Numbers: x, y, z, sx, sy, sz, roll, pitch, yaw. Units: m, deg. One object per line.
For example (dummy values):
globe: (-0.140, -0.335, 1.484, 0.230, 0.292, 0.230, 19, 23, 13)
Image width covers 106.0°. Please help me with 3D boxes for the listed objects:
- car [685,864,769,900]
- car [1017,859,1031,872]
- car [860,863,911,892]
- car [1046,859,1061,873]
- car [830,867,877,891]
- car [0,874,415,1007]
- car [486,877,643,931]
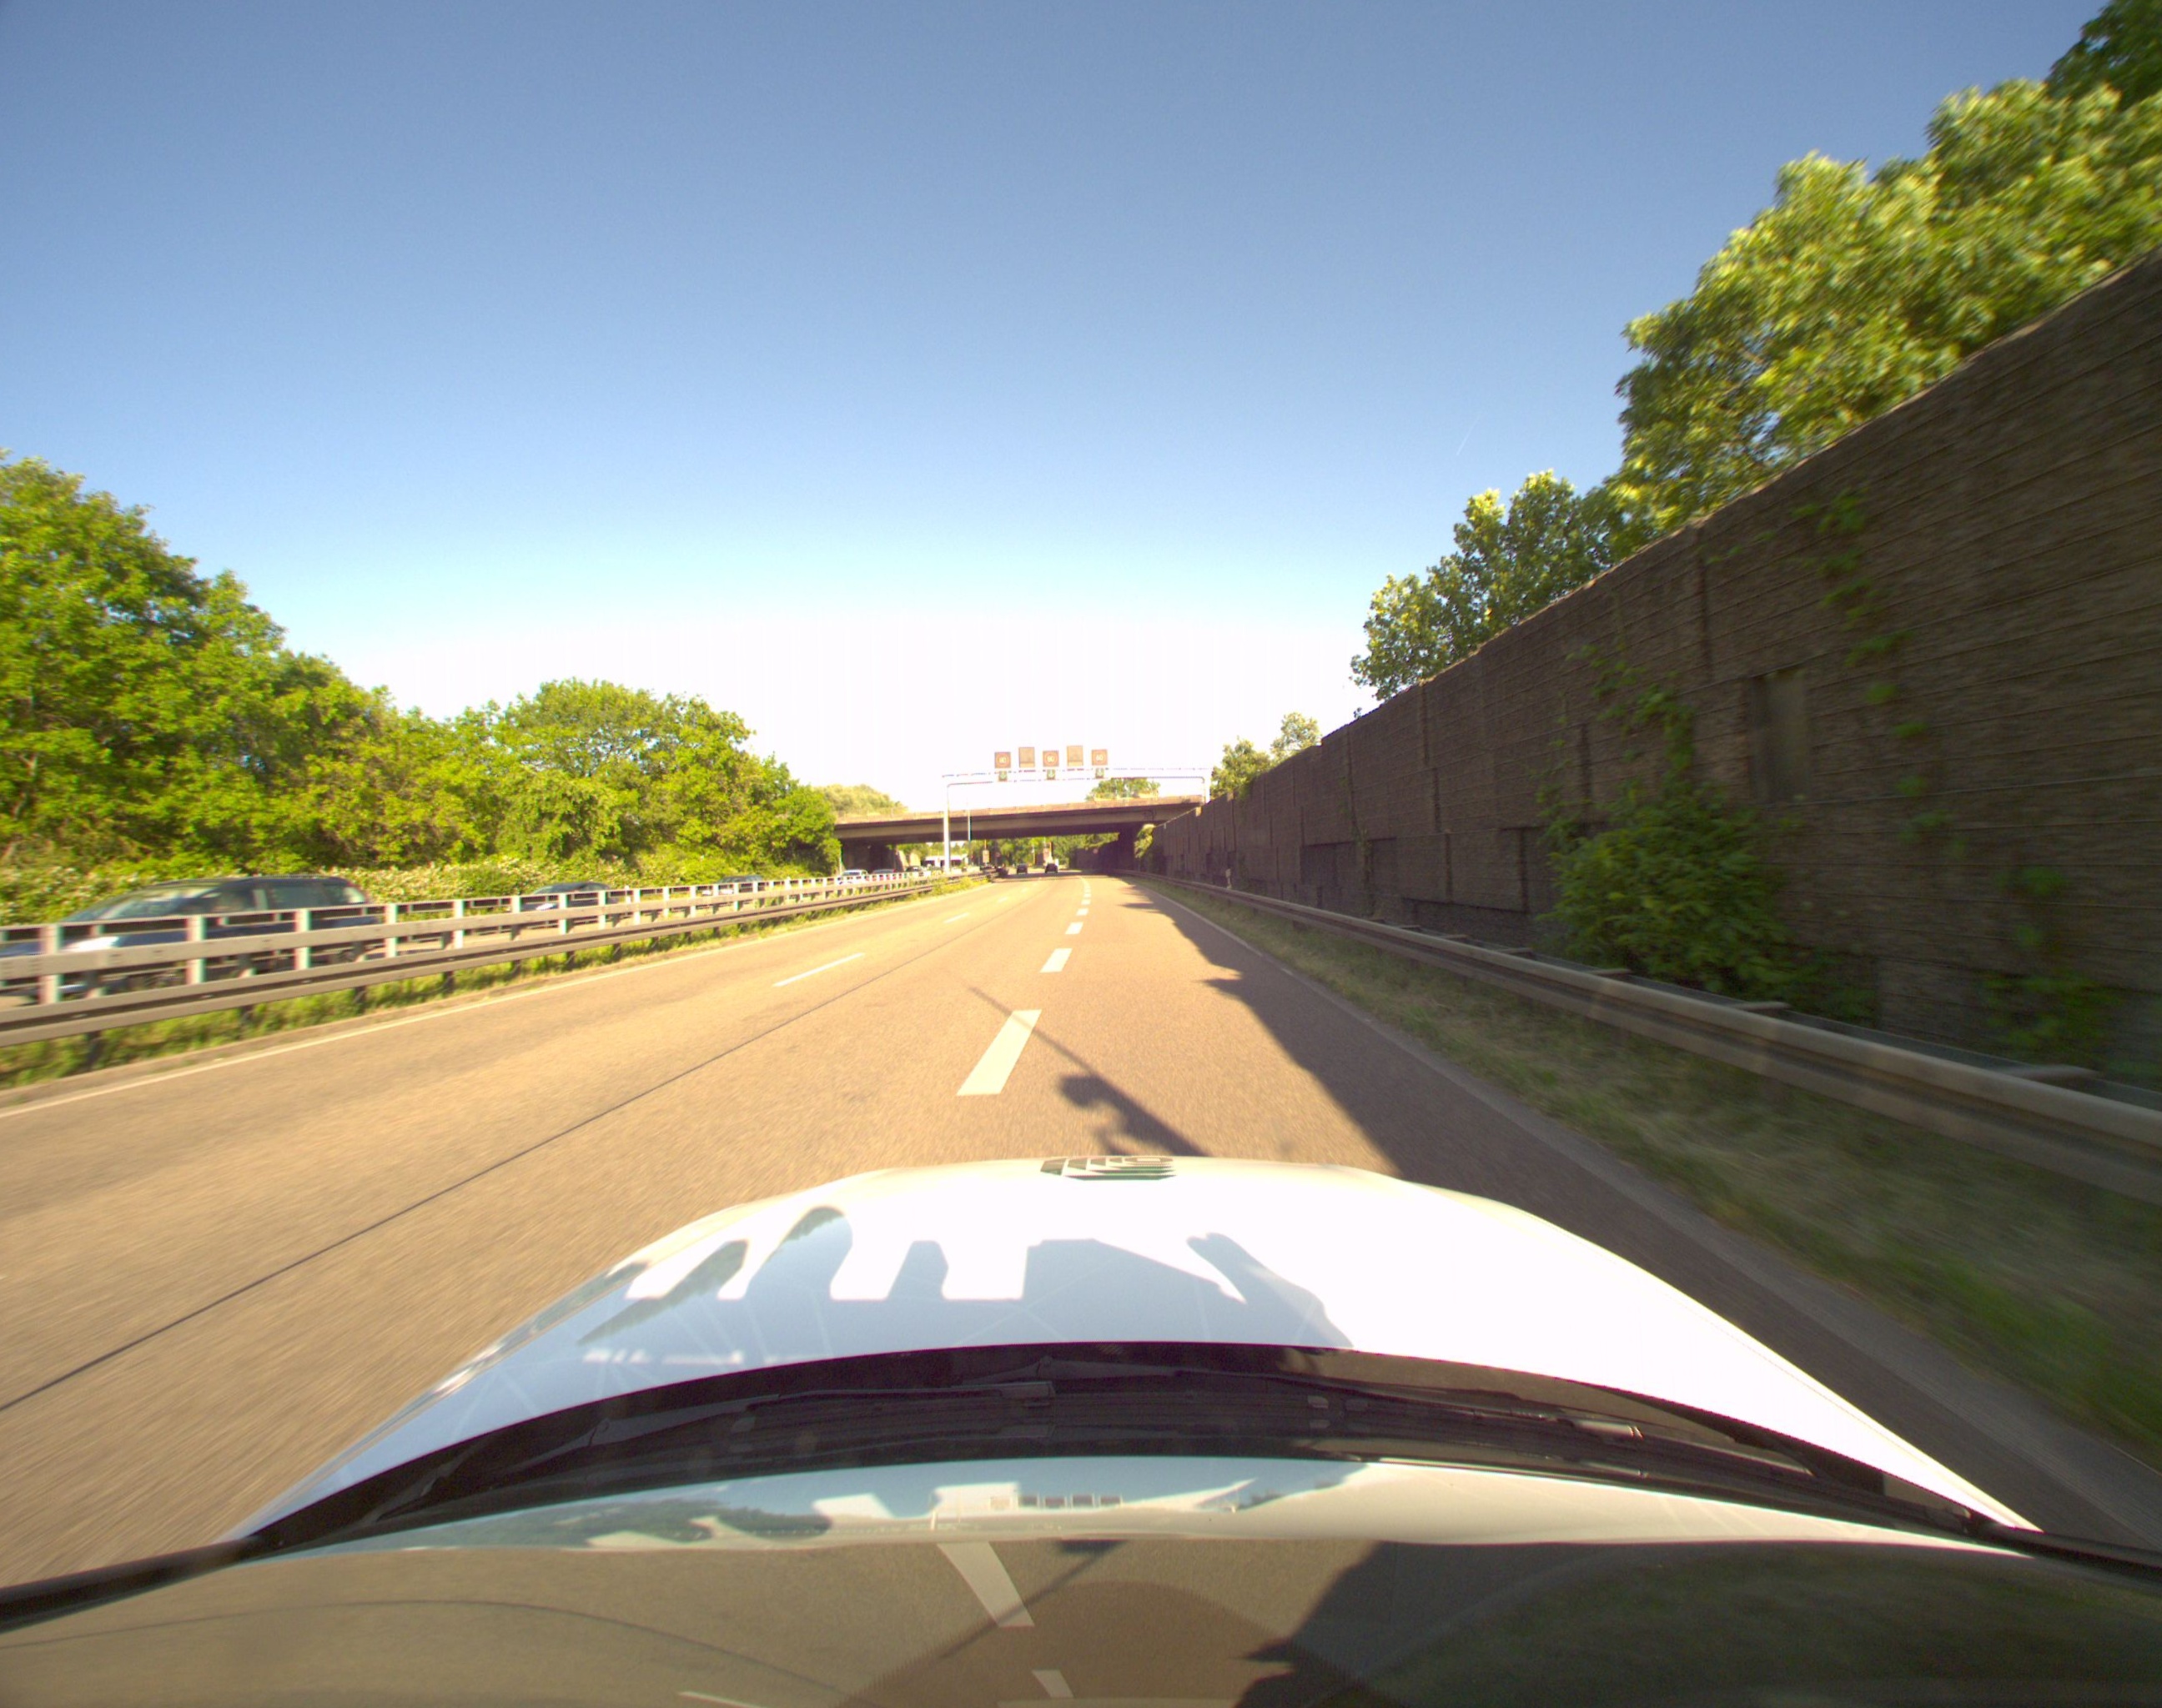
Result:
car: (-18.334, 1.407, 42.457, 1.986, 1.641, 5.029, -1, 0, 2)
car: (-8.869, 1.760, 126.192, 1.988, 1.926, 3.997, -1, 0, -2)
car: (-12.923, 1.525, 54.156, 1.986, 1.641, 4.722, -4, -1, 2)
car: (-3.987, 1.710, 119.818, 1.987, 1.926, 4.000, -1, 0, 0)
car: (-16.821, 1.805, 60.567, 1.986, 1.641, 4.722, -1, 0, 2)
car: (-13.728, 1.209, 13.117, 1.986, 1.641, 4.722, -1, 0, 2)
car: (-16.763, 1.562, 26.781, 1.986, 1.477, 4.722, -1, 0, 2)
